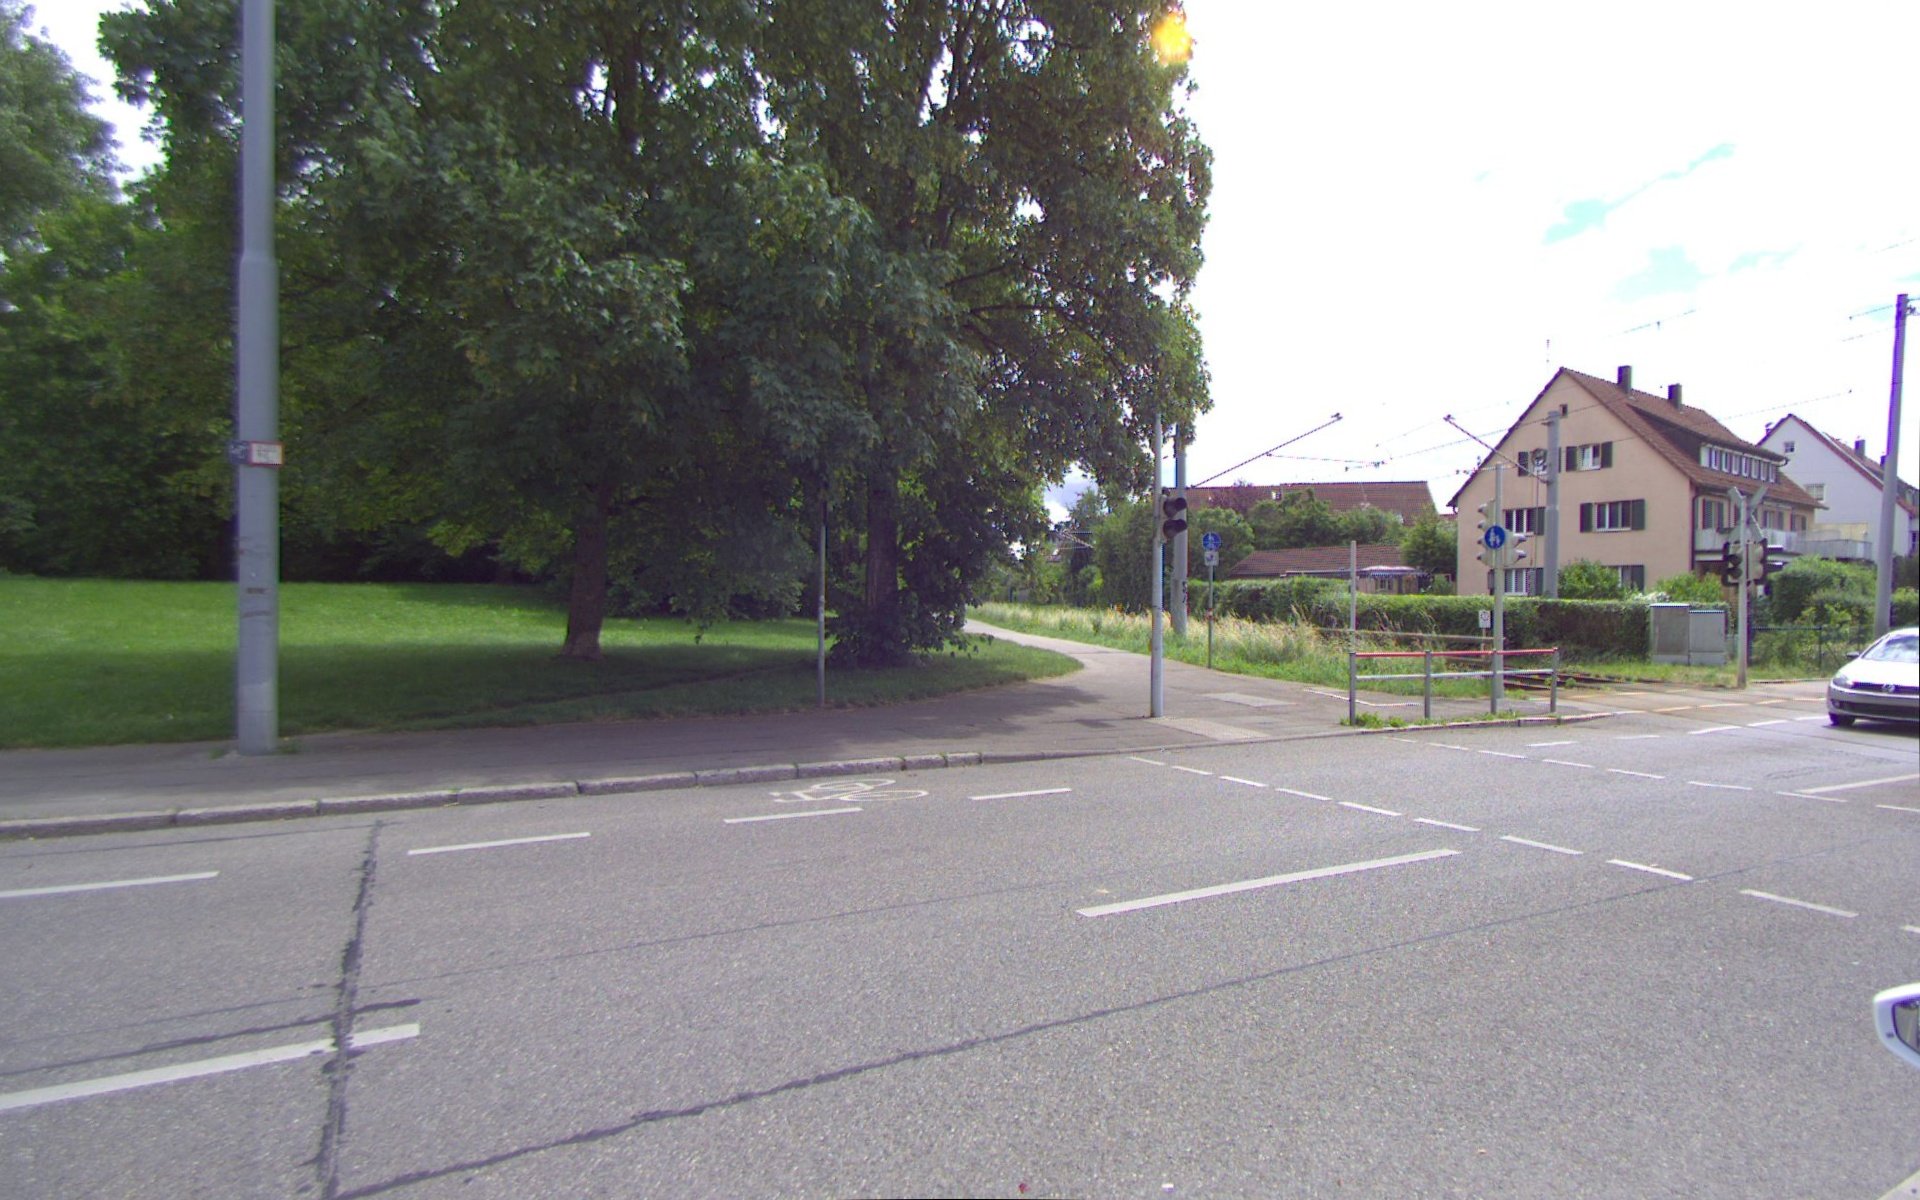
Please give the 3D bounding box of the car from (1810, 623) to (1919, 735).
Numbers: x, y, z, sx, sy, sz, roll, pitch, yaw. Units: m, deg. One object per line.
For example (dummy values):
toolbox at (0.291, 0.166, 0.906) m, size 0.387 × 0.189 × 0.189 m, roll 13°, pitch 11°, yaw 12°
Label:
car at (14.565, 1.107, 14.904) m, size 4.020 × 1.478 × 1.680 m, roll 1°, pitch 0°, yaw -29°
